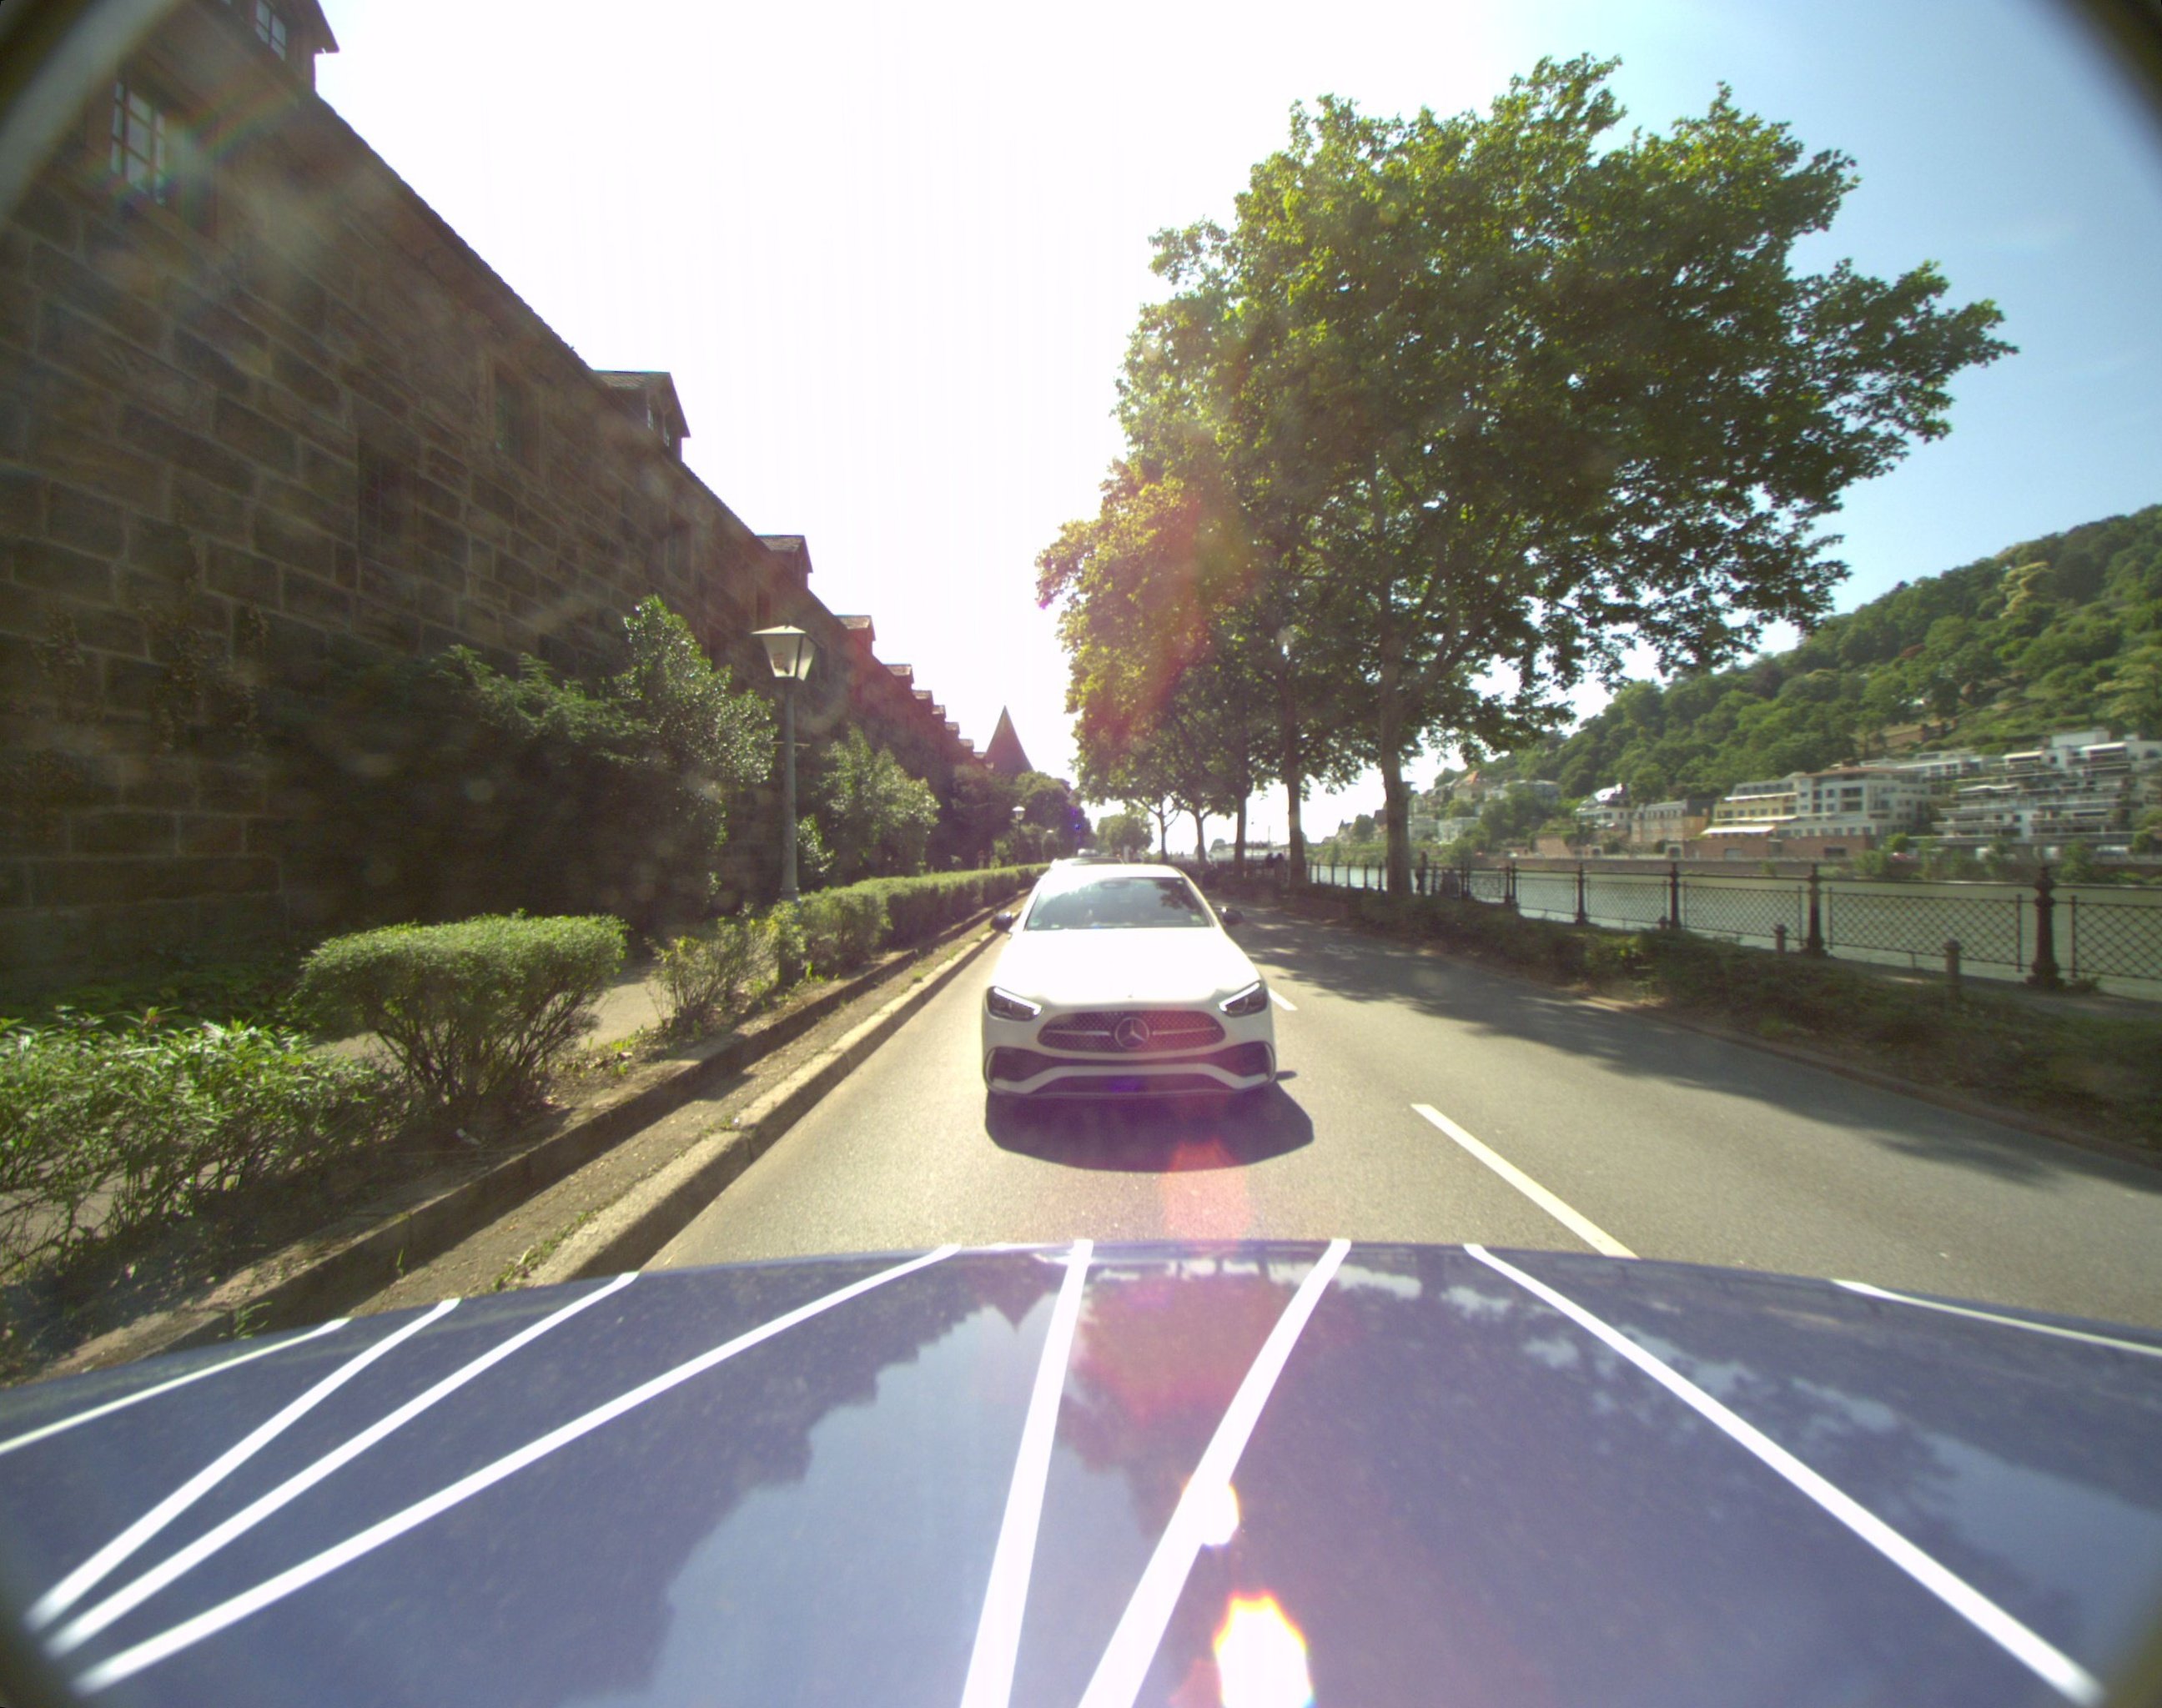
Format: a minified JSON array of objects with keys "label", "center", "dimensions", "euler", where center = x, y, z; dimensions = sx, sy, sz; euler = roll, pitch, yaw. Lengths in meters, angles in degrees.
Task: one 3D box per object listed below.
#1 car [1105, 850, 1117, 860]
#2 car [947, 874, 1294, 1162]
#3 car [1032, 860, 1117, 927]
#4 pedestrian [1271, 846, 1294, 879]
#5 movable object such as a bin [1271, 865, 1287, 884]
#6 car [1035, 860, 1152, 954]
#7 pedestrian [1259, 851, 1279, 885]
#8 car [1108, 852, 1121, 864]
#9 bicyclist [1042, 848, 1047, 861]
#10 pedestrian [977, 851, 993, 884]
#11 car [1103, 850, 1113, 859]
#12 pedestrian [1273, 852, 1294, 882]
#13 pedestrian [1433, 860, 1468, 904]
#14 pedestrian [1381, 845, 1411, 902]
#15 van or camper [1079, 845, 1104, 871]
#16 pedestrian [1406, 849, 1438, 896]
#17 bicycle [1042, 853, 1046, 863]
[{"label":"car","center":[5.990,0.182,151.031],"dimensions":[2.165,2.002,4.000],"euler":[-2,1,1]},{"label":"car","center":[0.244,0.948,6.251],"dimensions":[1.833,1.395,4.270],"euler":[-2,0,1]},{"label":"car","center":[-0.107,0.897,19.055],"dimensions":[1.833,1.395,4.424],"euler":[-2,0,1]},{"label":"pedestrian","center":[12.434,0.528,46.849],"dimensions":[1.047,2.002,1.036],"euler":[-1,1,31]},{"label":"movable object such as a bin","center":[11.037,1.145,42.400],"dimensions":[0.703,1.043,0.783],"euler":[-2,1,4]},{"label":"car","center":[0.232,0.875,14.379],"dimensions":[1.833,1.428,4.270],"euler":[-2,0,1]},{"label":"pedestrian","center":[10.302,0.767,41.658],"dimensions":[0.806,1.839,0.929],"euler":[-2,1,1]},{"label":"car","center":[5.860,0.646,134.959],"dimensions":[2.165,2.002,4.000],"euler":[-2,1,1]},{"label":"bicyclist","center":[-4.334,0.043,90.056],"dimensions":[0.550,1.513,0.583],"euler":[-2,1,-1]},{"label":"pedestrian","center":[-4.611,0.655,36.521],"dimensions":[0.643,1.555,0.563],"euler":[-2,1,1]},{"label":"car","center":[6.339,0.126,180.242],"dimensions":[2.165,2.002,4.000],"euler":[-2,1,1]},{"label":"pedestrian","center":[11.048,0.704,41.514],"dimensions":[0.897,1.625,1.059],"euler":[-2,1,6]},{"label":"pedestrian","center":[11.991,0.903,24.669],"dimensions":[0.768,1.379,0.770],"euler":[1,0,0]},{"label":"pedestrian","center":[10.640,0.636,25.691],"dimensions":[0.767,1.889,0.771],"euler":[1,1,8]},{"label":"van or camper","center":[0.965,0.397,73.113],"dimensions":[2.313,2.358,5.035],"euler":[1,0,0]},{"label":"pedestrian","center":[12.788,0.683,28.515],"dimensions":[0.777,1.748,0.830],"euler":[1,1,0]},{"label":"bicycle","center":[-4.347,0.438,89.991],"dimensions":[0.406,1.169,1.576],"euler":[-2,1,-2]}]
